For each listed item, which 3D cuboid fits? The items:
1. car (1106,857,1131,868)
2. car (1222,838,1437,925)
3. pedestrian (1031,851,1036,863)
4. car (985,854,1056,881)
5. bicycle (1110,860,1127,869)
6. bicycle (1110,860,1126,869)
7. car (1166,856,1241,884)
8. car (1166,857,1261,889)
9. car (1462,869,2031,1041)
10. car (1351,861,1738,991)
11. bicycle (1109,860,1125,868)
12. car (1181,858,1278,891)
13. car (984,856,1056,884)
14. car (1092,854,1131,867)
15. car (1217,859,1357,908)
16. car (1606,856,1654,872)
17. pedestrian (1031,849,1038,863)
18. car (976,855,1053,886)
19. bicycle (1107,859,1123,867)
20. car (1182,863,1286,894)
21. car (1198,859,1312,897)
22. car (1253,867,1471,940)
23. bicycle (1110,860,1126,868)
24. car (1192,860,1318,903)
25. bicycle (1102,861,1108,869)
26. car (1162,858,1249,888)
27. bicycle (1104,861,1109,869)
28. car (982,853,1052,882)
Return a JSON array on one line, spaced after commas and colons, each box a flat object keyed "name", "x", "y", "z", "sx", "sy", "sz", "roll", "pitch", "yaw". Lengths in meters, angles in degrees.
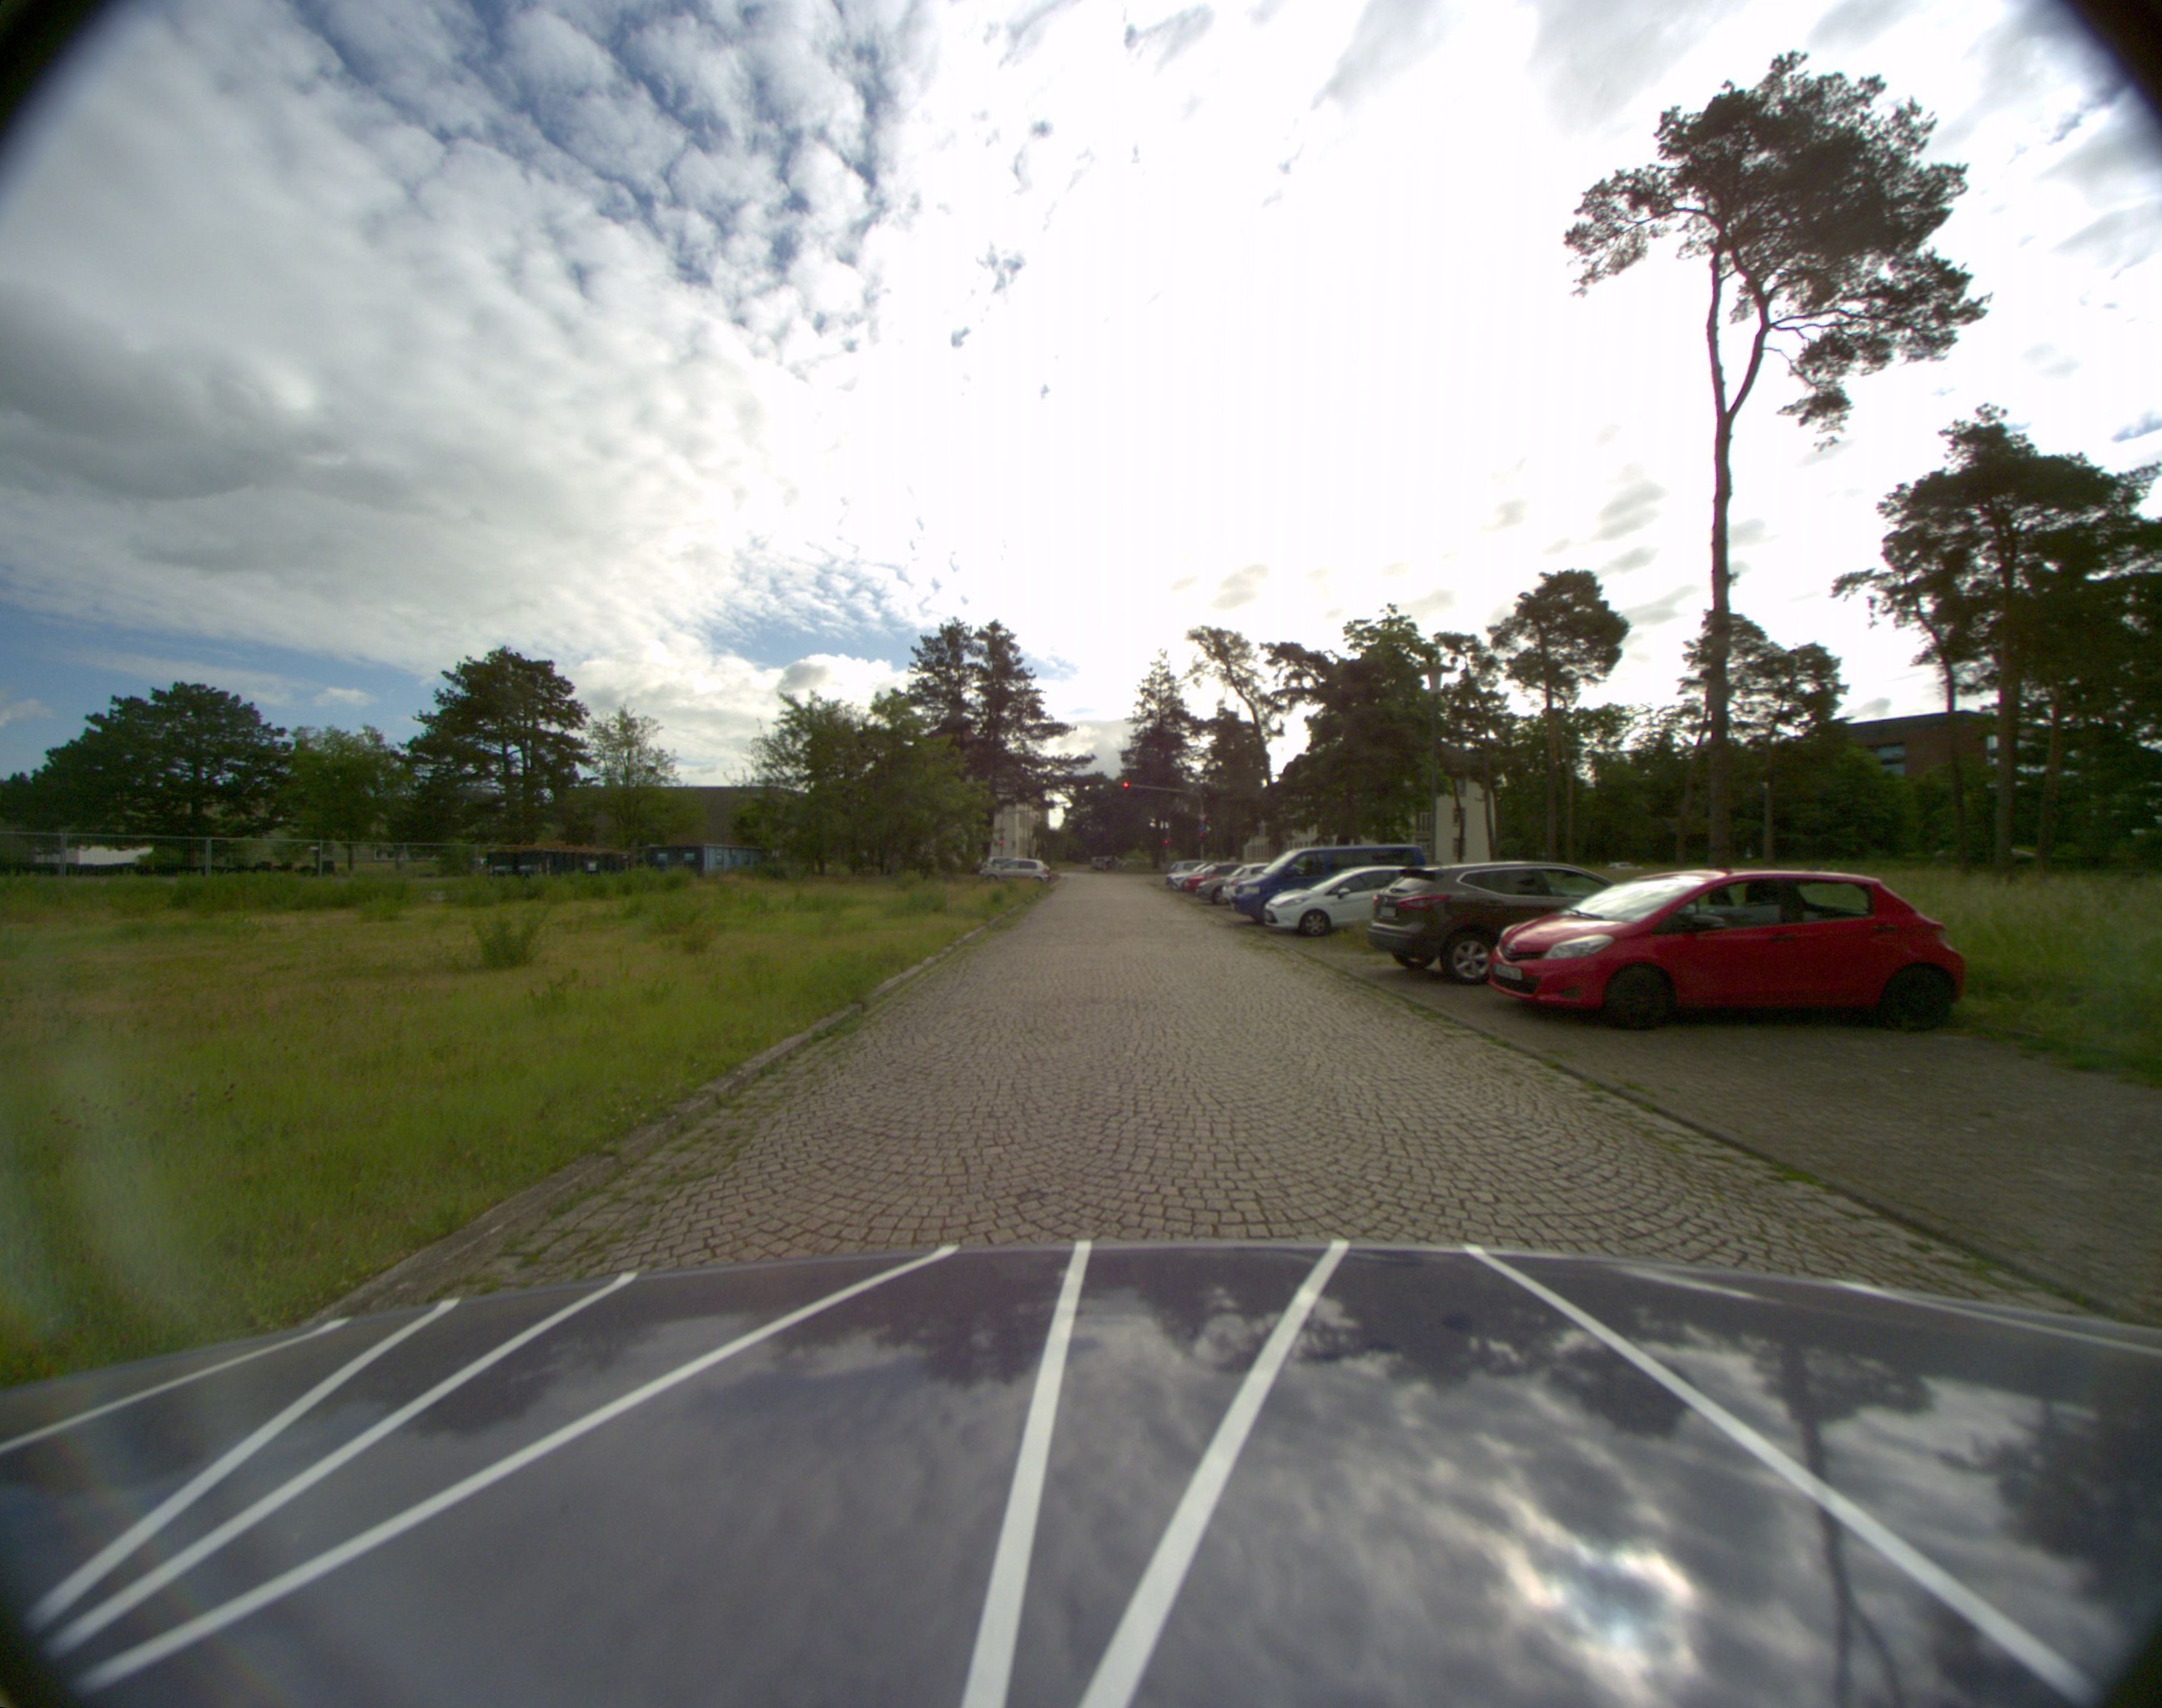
[{"name": "car", "x": 5.274, "y": 1.188, "z": 106.856, "sx": 3.439, "sy": 1.440, "sz": 1.913, "roll": 0, "pitch": 0, "yaw": 0}, {"name": "car", "x": 6.207, "y": 0.670, "z": 19.439, "sx": 4.794, "sy": 2.109, "sz": 2.115, "roll": 0, "pitch": 0, "yaw": 0}, {"name": "pedestrian", "x": -6.750, "y": 0.447, "z": 107.716, "sx": 0.568, "sy": 1.691, "sz": 0.532, "roll": 0, "pitch": 0, "yaw": 5}, {"name": "car", "x": -3.974, "y": 0.868, "z": 50.464, "sx": 4.504, "sy": 1.556, "sz": 1.905, "roll": 3, "pitch": 0, "yaw": -1}, {"name": "bicycle", "x": 4.561, "y": 1.254, "z": 92.626, "sx": 1.950, "sy": 1.104, "sz": 0.563, "roll": 0, "pitch": 0, "yaw": -1}, {"name": "bicycle", "x": 4.496, "y": 1.283, "z": 92.072, "sx": 1.898, "sy": 1.058, "sz": 0.616, "roll": 0, "pitch": 0, "yaw": -1}, {"name": "car", "x": 6.919, "y": 0.888, "z": 43.295, "sx": 3.997, "sy": 1.534, "sz": 1.905, "roll": 0, "pitch": 0, "yaw": 0}, {"name": "car", "x": 6.529, "y": 0.924, "z": 37.827, "sx": 4.385, "sy": 1.499, "sz": 1.935, "roll": 0, "pitch": 0, "yaw": -1}, {"name": "car", "x": 6.487, "y": 0.933, "z": 7.810, "sx": 4.176, "sy": 1.501, "sz": 1.907, "roll": 0, "pitch": 0, "yaw": 0}, {"name": "car", "x": 6.205, "y": 0.918, "z": 10.557, "sx": 4.177, "sy": 1.613, "sz": 1.986, "roll": 0, "pitch": 0, "yaw": -1}, {"name": "bicycle", "x": 4.554, "y": 1.242, "z": 95.410, "sx": 1.950, "sy": 1.058, "sz": 0.563, "roll": 0, "pitch": 0, "yaw": -1}, {"name": "car", "x": 6.898, "y": 0.954, "z": 35.522, "sx": 4.176, "sy": 1.468, "sz": 1.864, "roll": 0, "pitch": 0, "yaw": 1}, {"name": "car", "x": -3.589, "y": 0.940, "z": 45.187, "sx": 4.084, "sy": 1.444, "sz": 1.885, "roll": 3, "pitch": 0, "yaw": -1}, {"name": "car", "x": 4.371, "y": 0.939, "z": 110.509, "sx": 5.366, "sy": 1.987, "sz": 2.289, "roll": 0, "pitch": 0, "yaw": -7}, {"name": "car", "x": 6.620, "y": 0.934, "z": 24.728, "sx": 4.077, "sy": 1.488, "sz": 1.846, "roll": 0, "pitch": 0, "yaw": 2}, {"name": "car", "x": 60.845, "y": 1.081, "z": 84.264, "sx": 3.996, "sy": 1.796, "sz": 1.723, "roll": 0, "pitch": 0, "yaw": 4}, {"name": "pedestrian", "x": -6.528, "y": 0.237, "z": 106.313, "sx": 0.589, "sy": 1.926, "sz": 0.792, "roll": 0, "pitch": 0, "yaw": -32}, {"name": "car", "x": -3.651, "y": 0.904, "z": 42.477, "sx": 4.084, "sy": 1.506, "sz": 1.804, "roll": 3, "pitch": 0, "yaw": -1}, {"name": "bicycle", "x": 4.414, "y": 1.206, "z": 98.671, "sx": 1.950, "sy": 1.058, "sz": 0.563, "roll": 0, "pitch": 0, "yaw": -1}, {"name": "car", "x": 6.607, "y": 1.039, "z": 33.155, "sx": 4.176, "sy": 1.259, "sz": 1.831, "roll": 0, "pitch": 0, "yaw": 2}, {"name": "car", "x": 6.920, "y": 0.942, "z": 30.492, "sx": 4.176, "sy": 1.473, "sz": 1.846, "roll": 0, "pitch": 0, "yaw": 2}, {"name": "car", "x": 6.102, "y": 1.061, "z": 16.855, "sx": 4.177, "sy": 1.501, "sz": 1.781, "roll": 0, "pitch": 0, "yaw": -1}, {"name": "bicycle", "x": 4.566, "y": 1.247, "z": 94.869, "sx": 1.950, "sy": 1.058, "sz": 0.563, "roll": 0, "pitch": 0, "yaw": -1}, {"name": "car", "x": 6.226, "y": 0.967, "z": 27.577, "sx": 4.175, "sy": 1.483, "sz": 1.865, "roll": 0, "pitch": 0, "yaw": 3}, {"name": "bicycle", "x": 2.890, "y": 1.276, "z": 90.502, "sx": 0.459, "sy": 0.968, "sz": 1.664, "roll": 0, "pitch": 0, "yaw": 10}, {"name": "car", "x": 6.600, "y": 1.015, "z": 40.571, "sx": 4.262, "sy": 1.539, "sz": 1.935, "roll": 0, "pitch": 0, "yaw": -2}, {"name": "bicycle", "x": 2.940, "y": 1.280, "z": 88.679, "sx": 0.459, "sy": 0.903, "sz": 1.663, "roll": 0, "pitch": 0, "yaw": 5}, {"name": "car", "x": -3.965, "y": 0.864, "z": 47.911, "sx": 4.251, "sy": 1.587, "sz": 1.885, "roll": 3, "pitch": 0, "yaw": -2}]
